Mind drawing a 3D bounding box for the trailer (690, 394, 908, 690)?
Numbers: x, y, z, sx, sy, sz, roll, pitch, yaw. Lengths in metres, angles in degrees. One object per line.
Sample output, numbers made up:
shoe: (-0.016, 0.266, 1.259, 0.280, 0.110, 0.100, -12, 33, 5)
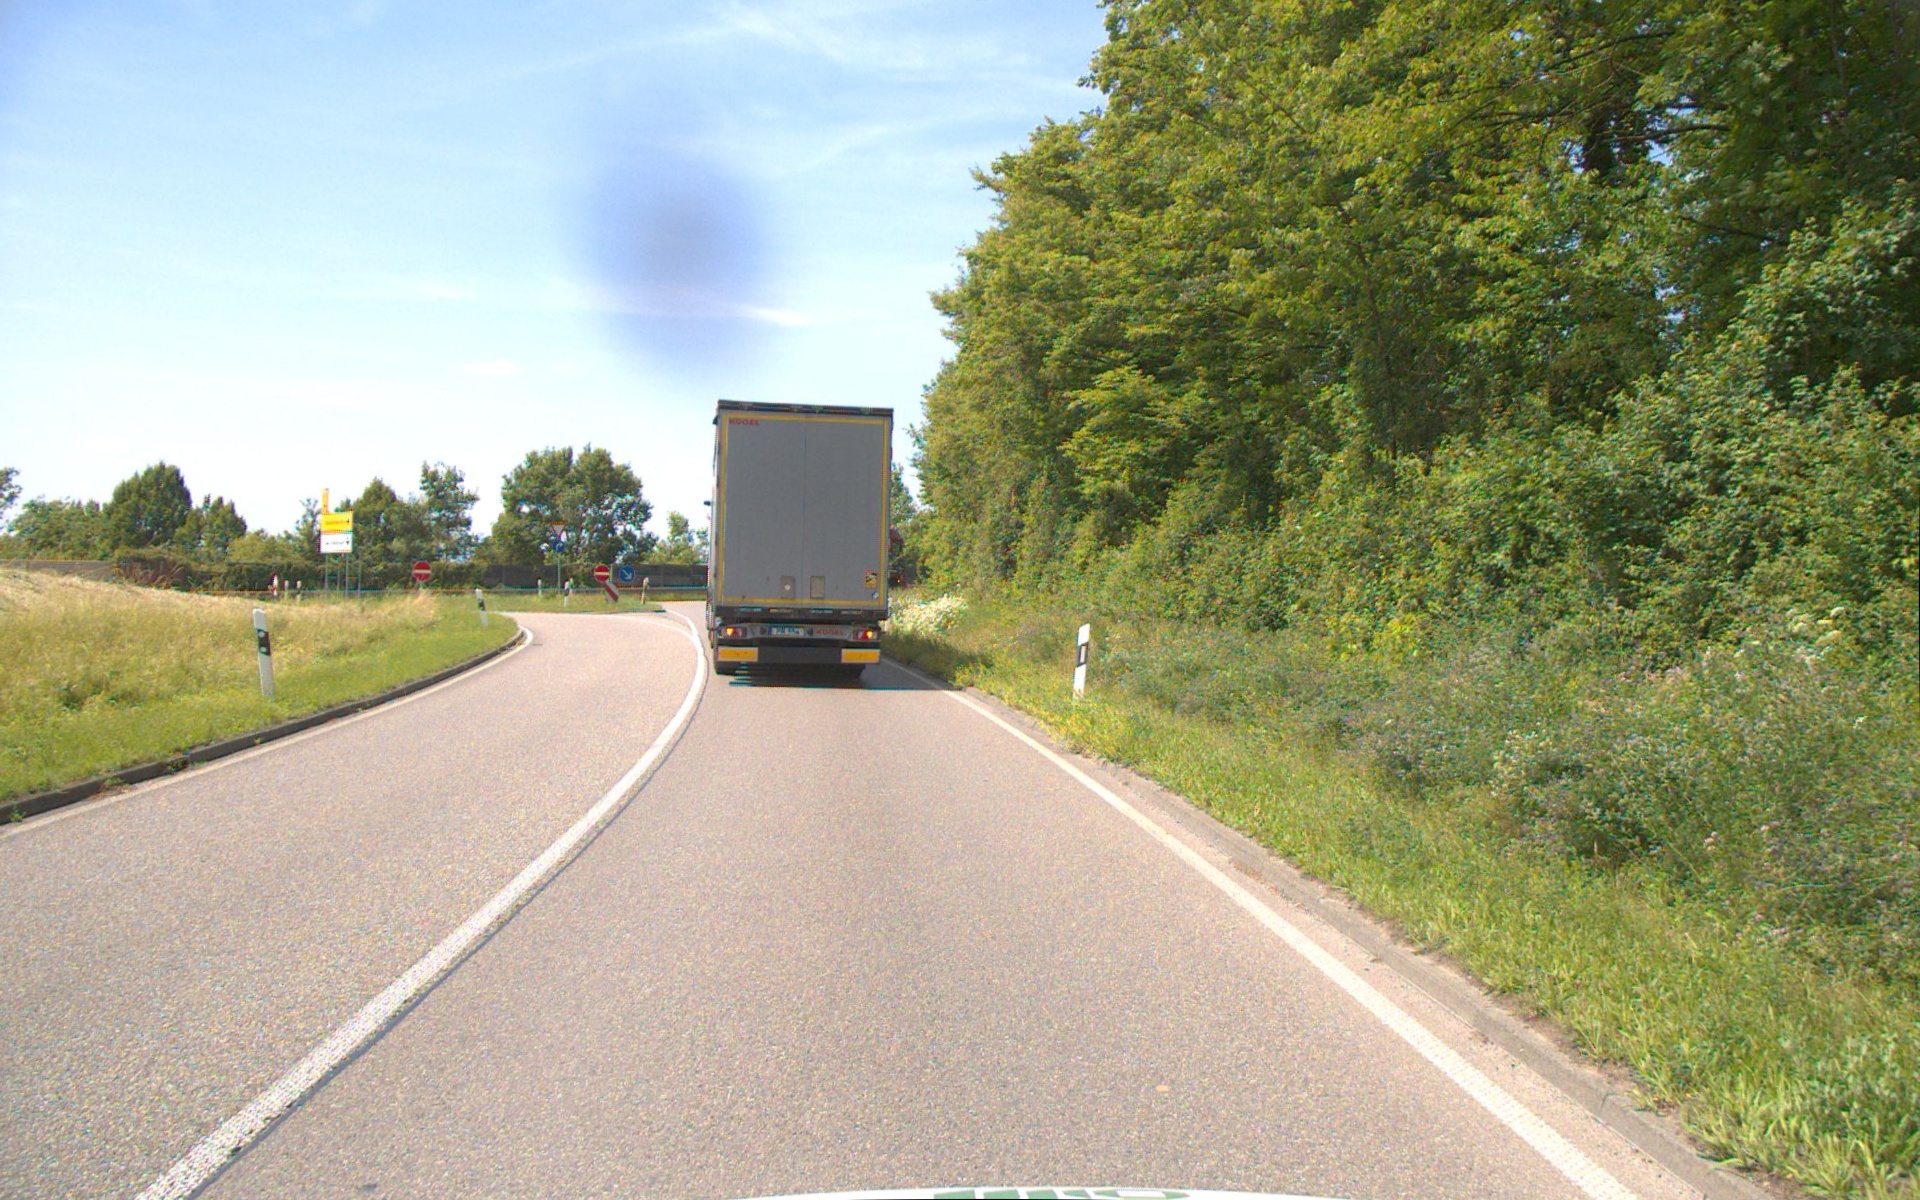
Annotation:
trailer: (-3.130, -0.855, 29.984, 2.970, 4.105, 13.329, 1, 0, -8)

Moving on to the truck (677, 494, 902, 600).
truck: (-8.182, -2.494, 83.708, 3.752, 4.827, 16.194, 0, 0, 24)

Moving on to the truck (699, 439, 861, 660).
truck: (-4.017, -1.006, 36.698, 3.093, 4.298, 7.111, 2, 0, -7)
